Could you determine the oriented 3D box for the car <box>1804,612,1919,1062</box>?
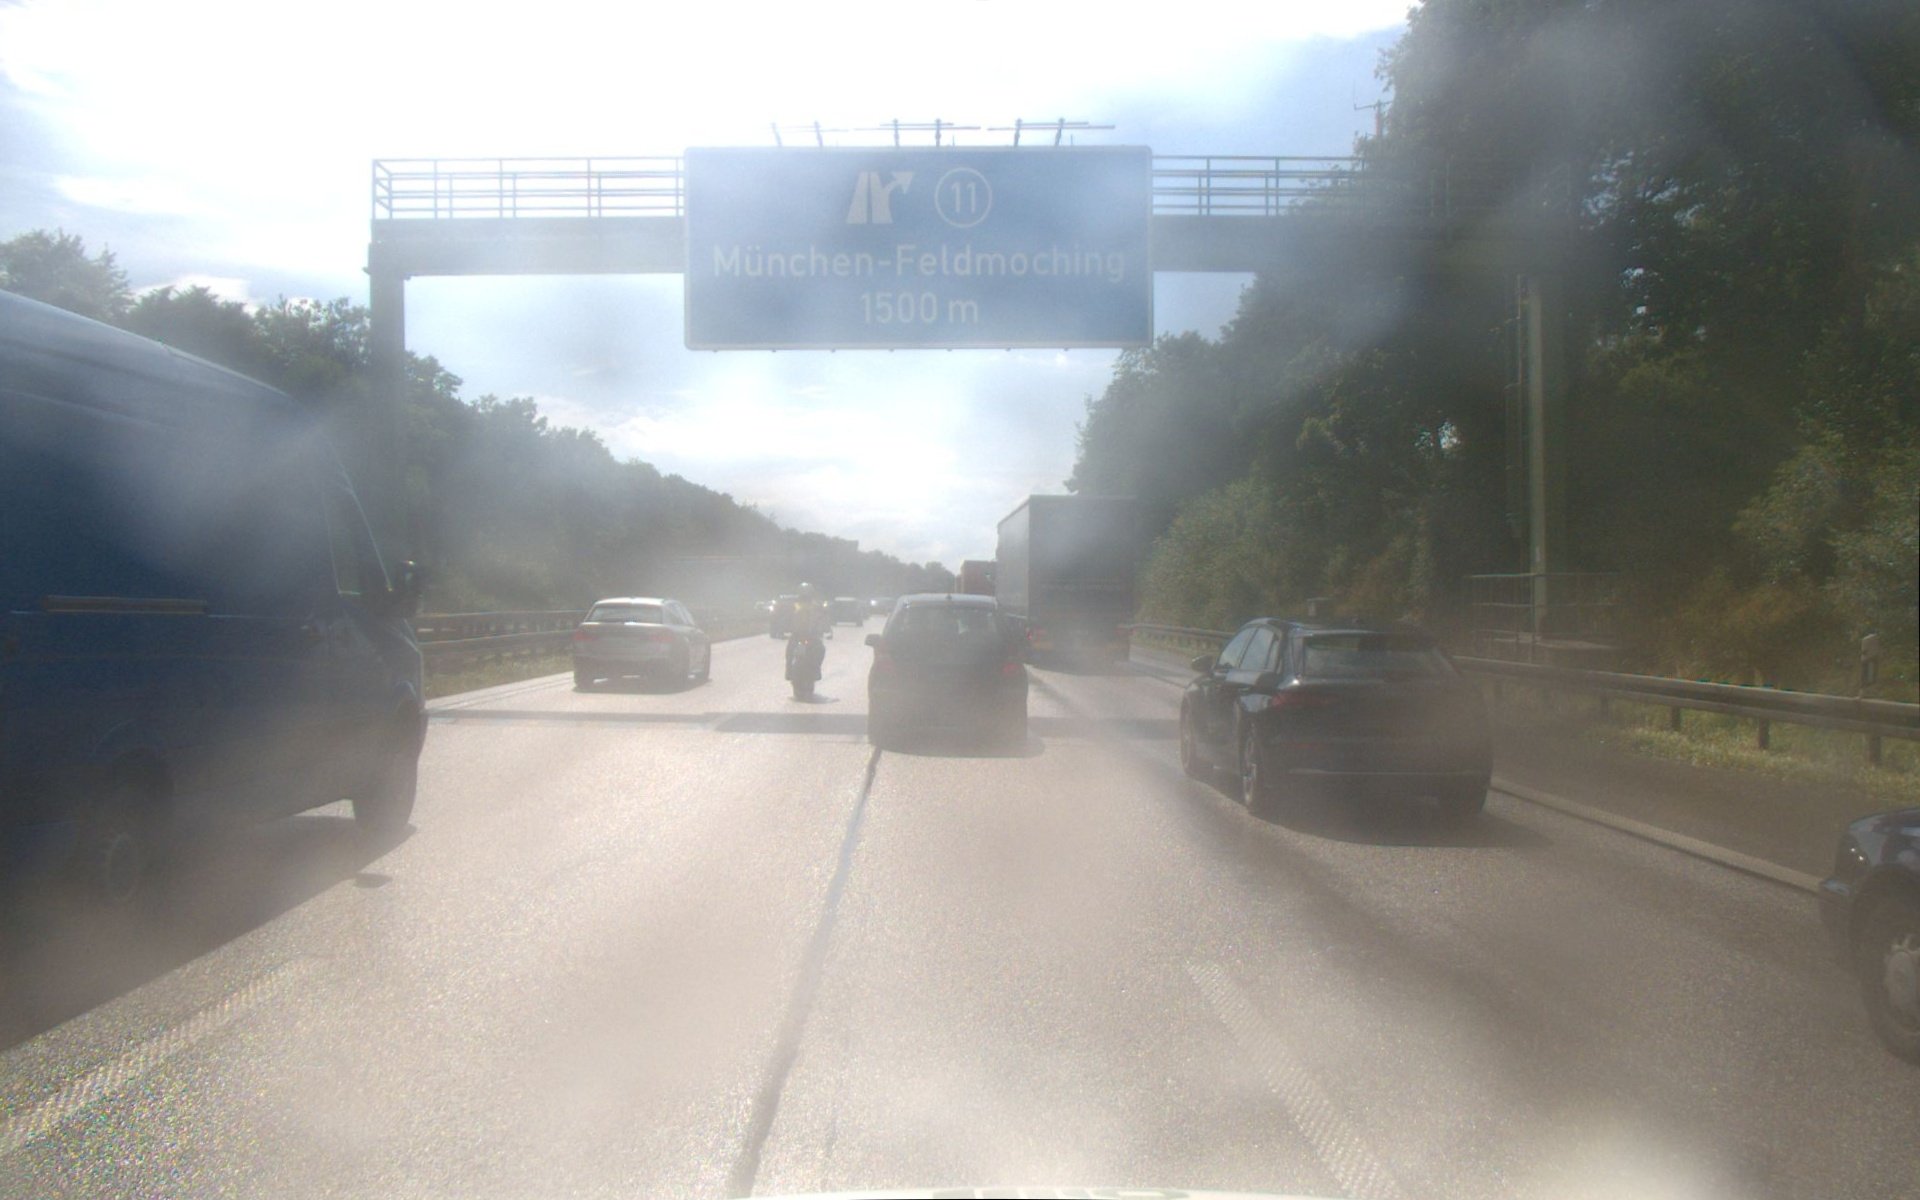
[{"bbox_3d":[4.033,0.789,4.340,1.617,1.481,3.743,0,0,-3],"label":"car"}]

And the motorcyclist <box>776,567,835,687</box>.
[{"bbox_3d":[-2.380,0.414,25.559,0.805,1.791,1.389,1,-1,-2],"label":"motorcyclist"}]

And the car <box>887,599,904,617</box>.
[{"bbox_3d":[-7.711,0.976,197.228,1.953,2.049,3.999,1,0,-1],"label":"car"}]

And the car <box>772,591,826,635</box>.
[{"bbox_3d":[-6.324,0.506,65.318,1.855,1.656,4.193,0,0,-2],"label":"car"}]

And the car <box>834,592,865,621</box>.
[{"bbox_3d":[-6.370,0.356,95.824,1.641,1.625,3.435,0,0,-1],"label":"car"}]

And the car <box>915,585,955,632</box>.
[{"bbox_3d":[-1.100,0.352,71.596,1.641,1.970,3.772,0,0,-1],"label":"car"}]

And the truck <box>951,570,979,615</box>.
[{"bbox_3d":[0.498,-0.757,181.405,2.823,4.769,12.655,1,0,-1],"label":"truck"}]

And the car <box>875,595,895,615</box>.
[{"bbox_3d":[-7.913,0.576,175.173,1.953,2.049,3.999,1,0,-1],"label":"car"}]

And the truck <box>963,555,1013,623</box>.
[{"bbox_3d":[1.875,-0.727,113.682,3.137,4.481,9.430,1,0,-1],"label":"truck"}]

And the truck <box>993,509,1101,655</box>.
[{"bbox_3d":[2.694,-0.574,53.051,2.990,4.400,5.885,1,0,-1],"label":"truck"}]

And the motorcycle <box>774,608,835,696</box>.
[{"bbox_3d":[-2.381,0.778,25.582,0.803,1.285,2.116,1,0,-2],"label":"motorcycle"}]

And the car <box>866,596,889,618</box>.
[{"bbox_3d":[-7.630,0.652,152.708,1.953,2.049,3.999,1,0,-1],"label":"car"}]

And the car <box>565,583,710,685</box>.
[{"bbox_3d":[-5.477,0.544,28.576,1.723,1.622,4.329,0,0,-1],"label":"car"}]

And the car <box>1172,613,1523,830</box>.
[{"bbox_3d":[2.903,0.838,13.367,1.719,1.421,4.367,0,0,-1],"label":"car"}]

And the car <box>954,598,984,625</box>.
[{"bbox_3d":[0.496,0.669,95.218,1.641,1.516,3.435,0,0,-1],"label":"car"}]

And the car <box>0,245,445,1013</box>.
[{"bbox_3d":[-4.415,0.097,8.266,1.975,2.695,5.775,0,0,-1],"label":"car"}]

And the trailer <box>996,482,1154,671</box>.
[{"bbox_3d":[2.841,-0.554,45.707,3.026,4.388,14.101,0,0,-1],"label":"trailer"}]

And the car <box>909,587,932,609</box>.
[{"bbox_3d":[-2.833,-0.129,117.391,1.599,1.516,3.435,0,0,-1],"label":"car"}]

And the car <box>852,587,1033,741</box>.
[{"bbox_3d":[-0.229,0.668,19.363,1.876,1.592,4.312,0,0,-1],"label":"car"}]
